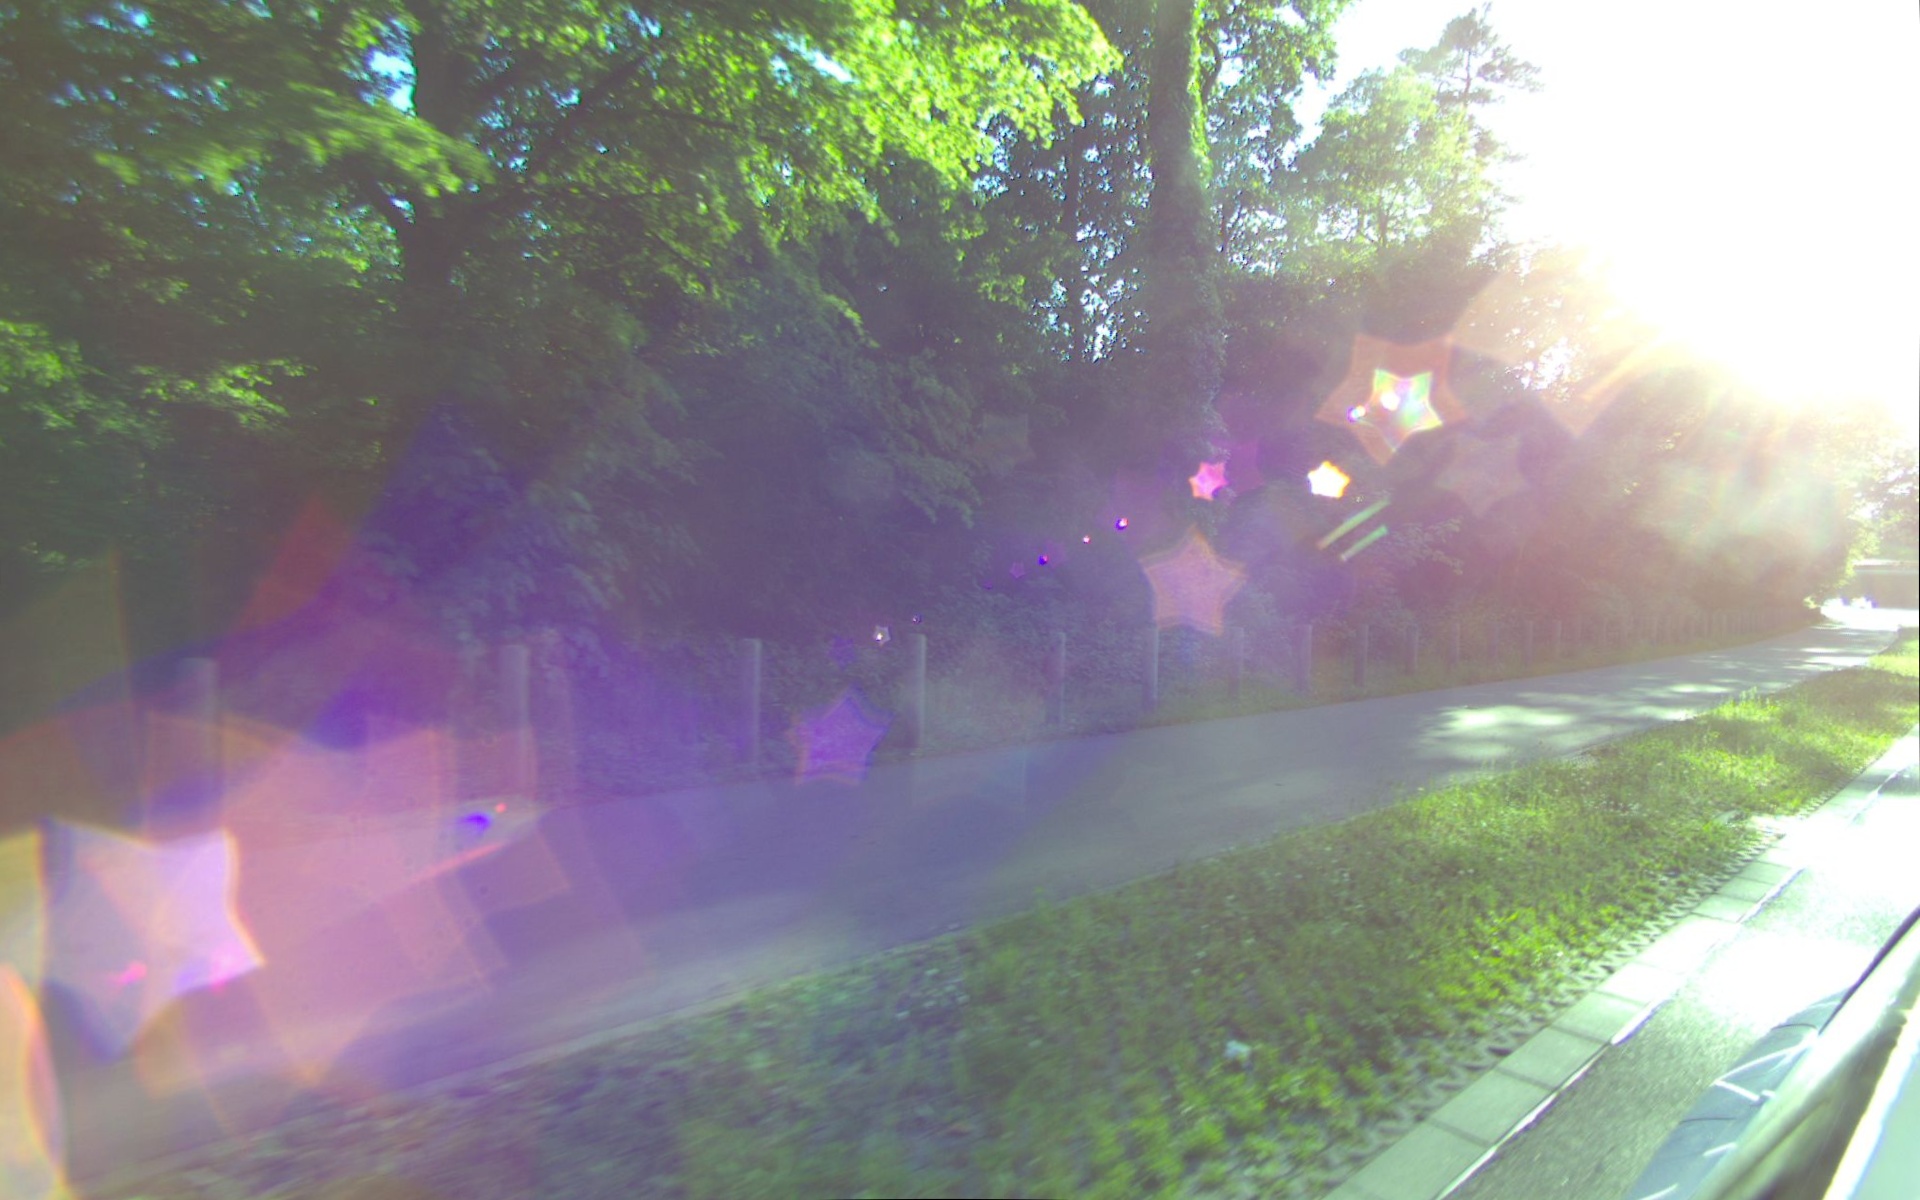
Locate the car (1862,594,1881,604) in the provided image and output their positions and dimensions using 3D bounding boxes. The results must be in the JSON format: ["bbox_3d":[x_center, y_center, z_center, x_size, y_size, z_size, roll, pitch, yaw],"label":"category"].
[{"bbox_3d":[153.110,-0.174,170.047,1.816,1.705,3.950,2,1,35],"label":"car"}]

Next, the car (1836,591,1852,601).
[{"bbox_3d":[171.095,-0.772,195.928,1.815,1.705,3.951,2,1,34],"label":"car"}]
